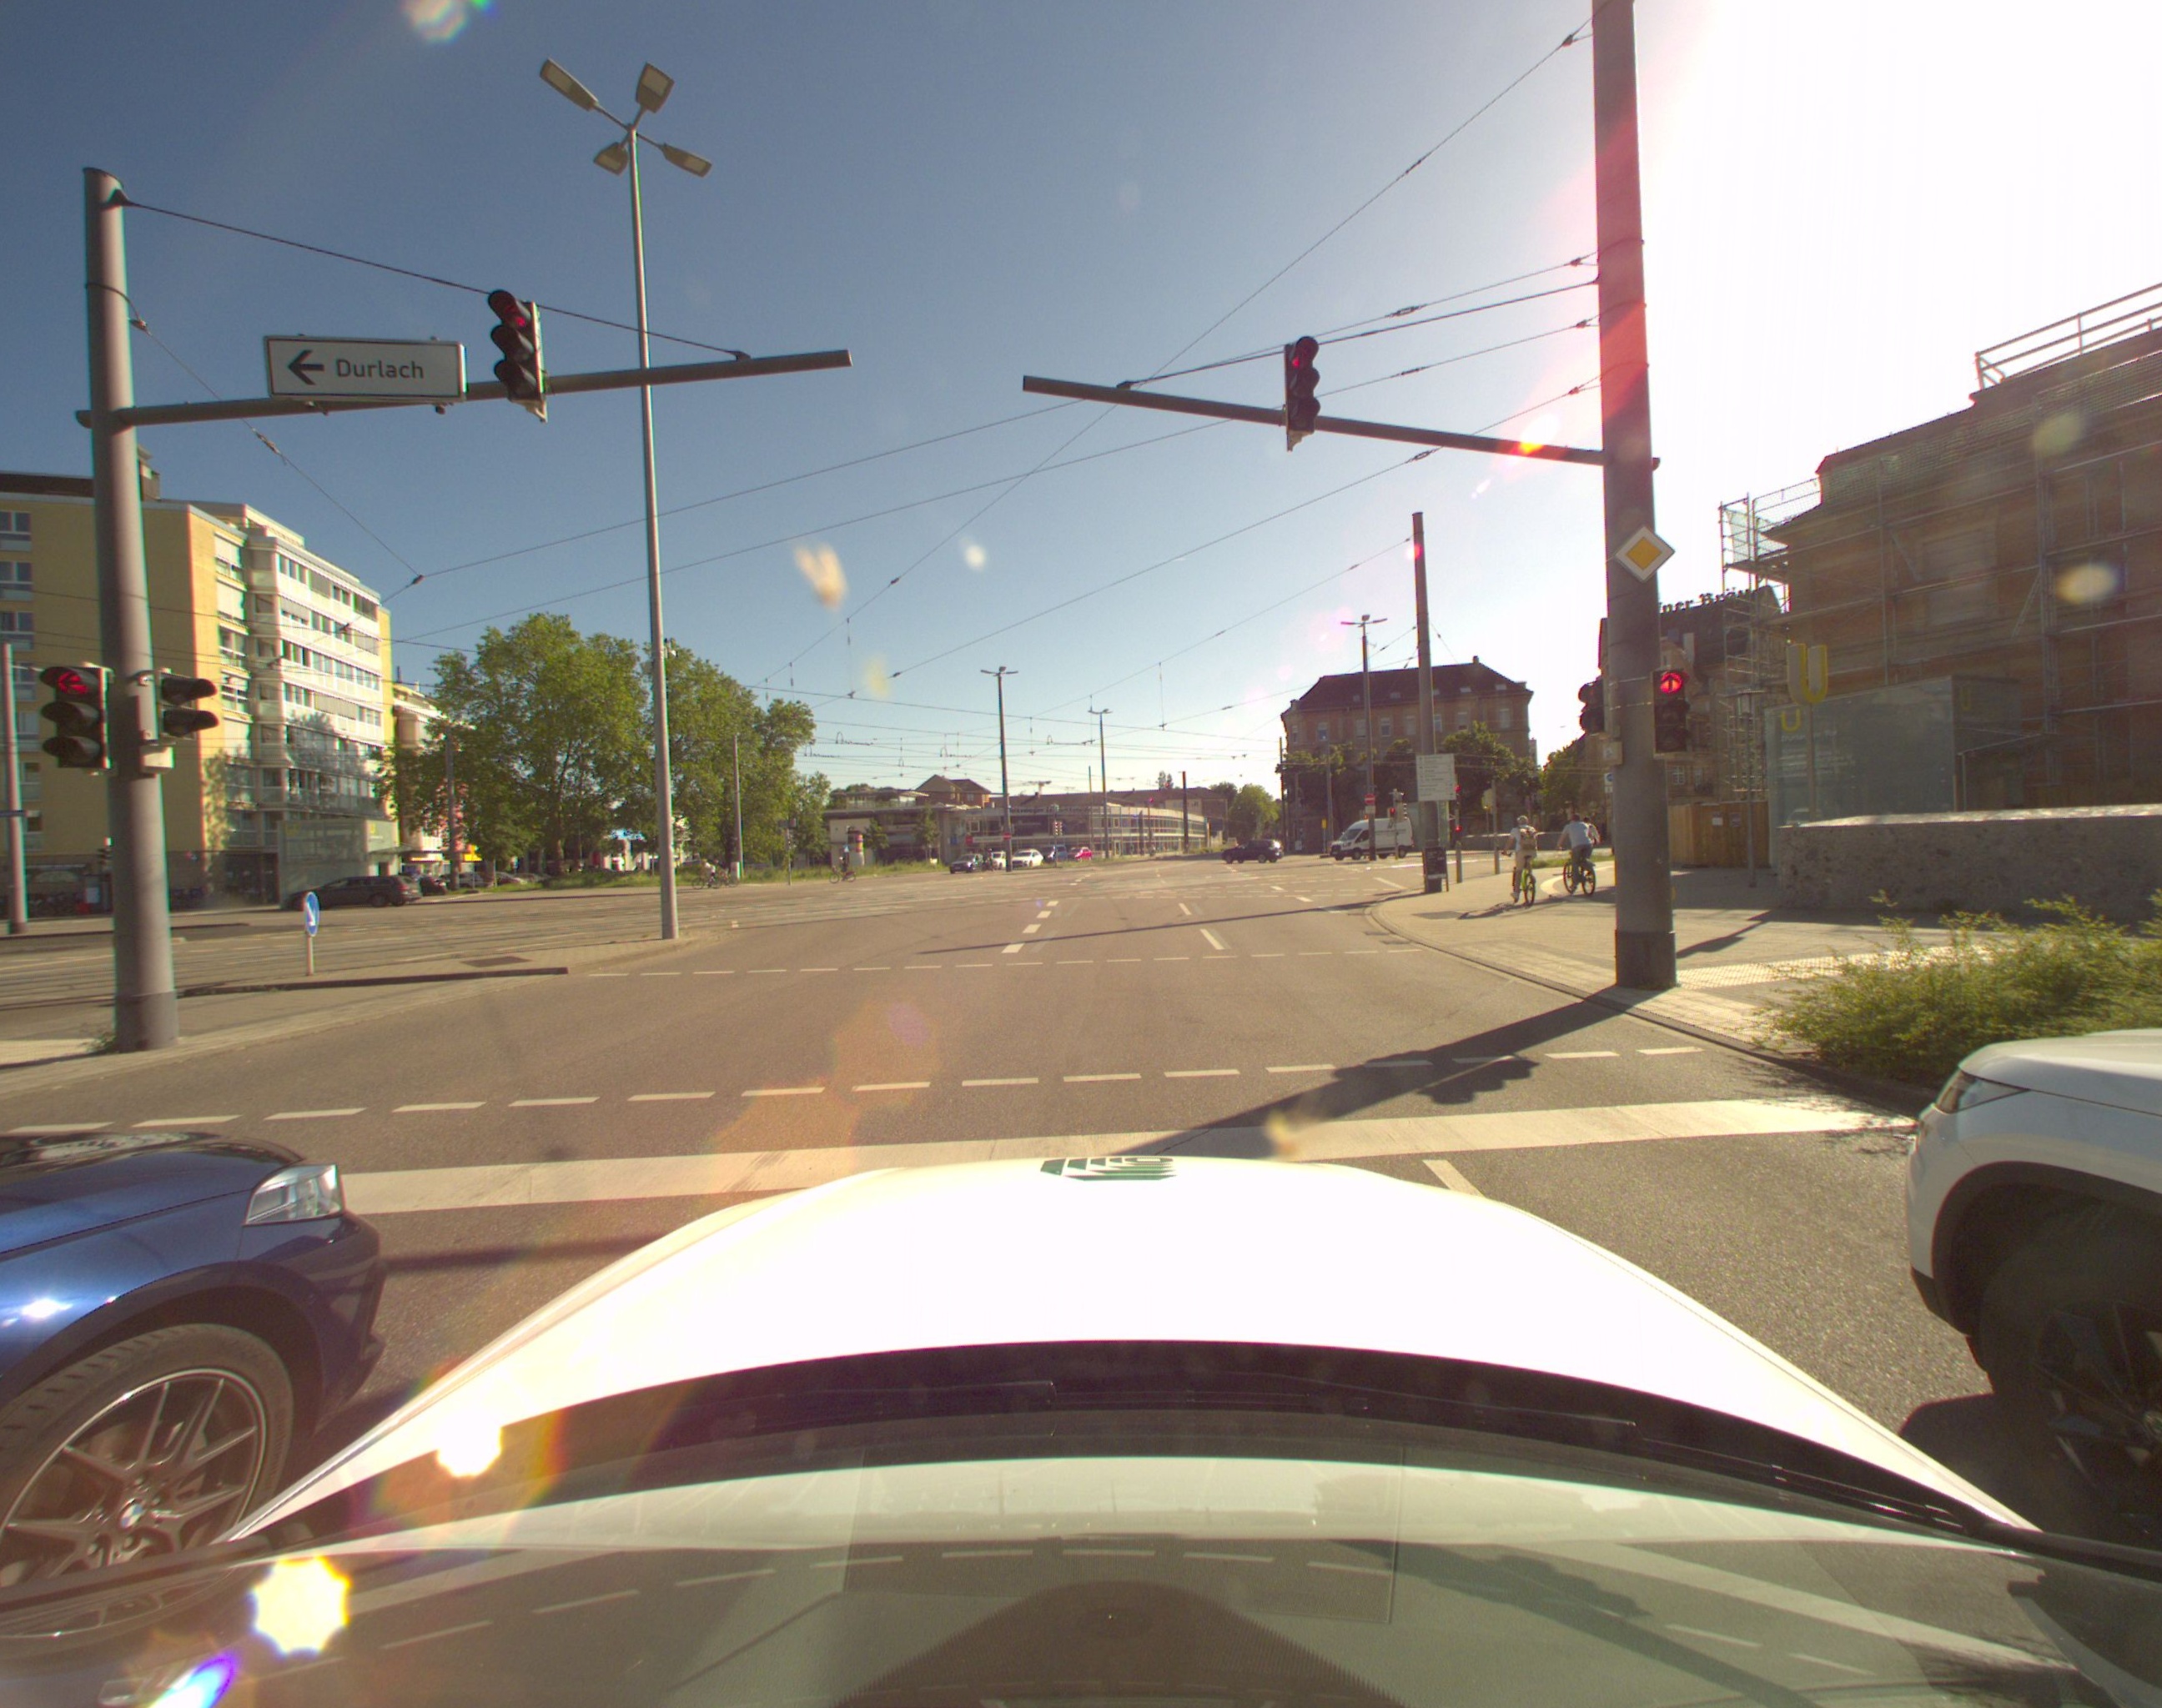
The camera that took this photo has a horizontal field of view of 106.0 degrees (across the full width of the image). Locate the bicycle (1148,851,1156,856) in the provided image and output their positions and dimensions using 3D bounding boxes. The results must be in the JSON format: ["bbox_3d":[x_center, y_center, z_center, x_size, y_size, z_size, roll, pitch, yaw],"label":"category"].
[{"bbox_3d":[9.752,-0.063,111.930,0.418,0.718,1.484,-2,0,28],"label":"bicycle"}]

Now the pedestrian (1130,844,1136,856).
[{"bbox_3d":[7.395,-0.634,116.272,0.537,1.688,0.634,-2,0,35],"label":"pedestrian"}]

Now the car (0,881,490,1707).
[{"bbox_3d":[-2.657,0.814,0.368,1.704,1.445,4.034,-1,0,2],"label":"car"}]

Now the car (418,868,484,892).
[{"bbox_3d":[-49.802,2.038,64.478,3.742,1.662,1.585,-2,0,-18],"label":"car"}]

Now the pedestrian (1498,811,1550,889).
[{"bbox_3d":[9.257,-0.087,17.034,0.547,1.562,0.857,-2,0,-4],"label":"pedestrian"}]

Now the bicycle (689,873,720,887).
[{"bbox_3d":[-22.566,1.549,48.796,1.635,0.758,0.421,-2,0,-21],"label":"bicycle"}]

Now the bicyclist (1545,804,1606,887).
[{"bbox_3d":[11.088,-0.181,18.290,0.744,1.778,0.924,-3,0,1],"label":"bicyclist"}]

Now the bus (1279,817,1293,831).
[{"bbox_3d":[62.630,-9.025,248.684,3.809,3.607,24.963,-1,0,15],"label":"bus"}]

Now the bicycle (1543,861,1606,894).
[{"bbox_3d":[11.169,0.519,18.478,0.535,0.655,1.468,-3,0,1],"label":"bicycle"}]

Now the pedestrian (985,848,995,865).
[{"bbox_3d":[-6.793,0.172,61.006,0.419,1.204,0.753,-2,0,19],"label":"pedestrian"}]

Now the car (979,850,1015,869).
[{"bbox_3d":[-6.912,0.448,67.438,1.613,1.424,3.702,-2,0,17],"label":"car"}]

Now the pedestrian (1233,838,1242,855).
[{"bbox_3d":[14.769,-0.701,76.811,0.797,1.632,0.720,-2,0,11],"label":"pedestrian"}]

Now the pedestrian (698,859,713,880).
[{"bbox_3d":[-22.493,0.909,48.836,0.750,1.204,0.421,-2,0,-21],"label":"pedestrian"}]

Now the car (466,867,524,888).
[{"bbox_3d":[-51.372,2.054,71.403,3.742,1.662,1.585,-2,0,-18],"label":"car"}]

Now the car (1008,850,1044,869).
[{"bbox_3d":[-4.408,0.403,65.493,1.613,1.382,3.754,-2,0,17],"label":"car"}]

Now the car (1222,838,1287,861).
[{"bbox_3d":[12.426,-0.326,58.582,4.210,1.503,1.715,-2,0,40],"label":"car"}]

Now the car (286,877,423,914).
[{"bbox_3d":[-33.165,1.857,37.301,4.222,1.400,1.848,-2,0,-18],"label":"car"}]

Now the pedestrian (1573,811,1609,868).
[{"bbox_3d":[17.184,-0.474,27.443,0.887,1.859,0.933,-2,0,37],"label":"pedestrian"}]

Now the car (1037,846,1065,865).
[{"bbox_3d":[-2.916,0.108,79.485,1.613,1.692,3.702,-2,0,17],"label":"car"}]

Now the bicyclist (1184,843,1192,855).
[{"bbox_3d":[15.800,-0.756,120.314,0.802,1.623,0.934,-2,0,31],"label":"bicyclist"}]

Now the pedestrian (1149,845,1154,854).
[{"bbox_3d":[9.698,-0.683,111.874,0.418,1.204,0.685,-2,0,28],"label":"pedestrian"}]

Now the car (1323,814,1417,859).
[{"bbox_3d":[19.456,-1.184,54.836,5.927,2.744,2.129,-2,0,-21],"label":"car"}]

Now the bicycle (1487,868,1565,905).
[{"bbox_3d":[9.314,0.668,17.117,0.536,0.655,1.722,-5,0,-5],"label":"bicycle"}]

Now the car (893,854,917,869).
[{"bbox_3d":[-21.778,0.898,100.879,1.958,1.706,4.085,-2,0,2],"label":"car"}]

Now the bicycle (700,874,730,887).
[{"bbox_3d":[-22.553,1.644,50.248,1.634,0.718,0.421,-2,0,-18],"label":"bicycle"}]

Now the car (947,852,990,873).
[{"bbox_3d":[-8.438,0.626,61.516,1.689,1.354,3.719,-2,0,19],"label":"car"}]

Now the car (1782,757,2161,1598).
[{"bbox_3d":[2.915,0.611,0.254,1.689,1.641,4.297,-2,0,0],"label":"car"}]

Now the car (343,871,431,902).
[{"bbox_3d":[-42.851,1.970,50.344,3.742,1.662,1.585,-2,0,-18],"label":"car"}]

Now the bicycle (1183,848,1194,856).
[{"bbox_3d":[15.942,-0.327,120.580,0.802,1.045,2.140,-2,0,31],"label":"bicycle"}]

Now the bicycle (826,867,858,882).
[{"bbox_3d":[-15.999,1.370,54.545,2.009,0.913,0.559,-2,0,-16],"label":"bicycle"}]

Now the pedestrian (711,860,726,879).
[{"bbox_3d":[-22.395,0.977,50.309,0.749,1.127,0.421,-2,0,-18],"label":"pedestrian"}]

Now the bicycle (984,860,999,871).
[{"bbox_3d":[-6.737,0.860,61.072,0.419,0.718,1.642,-2,0,19],"label":"bicycle"}]

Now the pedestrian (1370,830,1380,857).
[{"bbox_3d":[21.906,-0.794,60.666,0.461,2.013,0.449,-3,0,-16],"label":"pedestrian"}]

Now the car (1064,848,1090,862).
[{"bbox_3d":[-0.359,0.105,86.554,1.613,1.364,3.703,-2,0,18],"label":"car"}]

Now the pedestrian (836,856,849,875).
[{"bbox_3d":[-15.979,0.751,54.557,0.795,1.204,0.557,-2,0,-16],"label":"pedestrian"}]

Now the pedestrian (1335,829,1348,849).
[{"bbox_3d":[21.565,-1.234,67.457,0.722,1.632,0.749,-2,0,-42],"label":"pedestrian"}]
